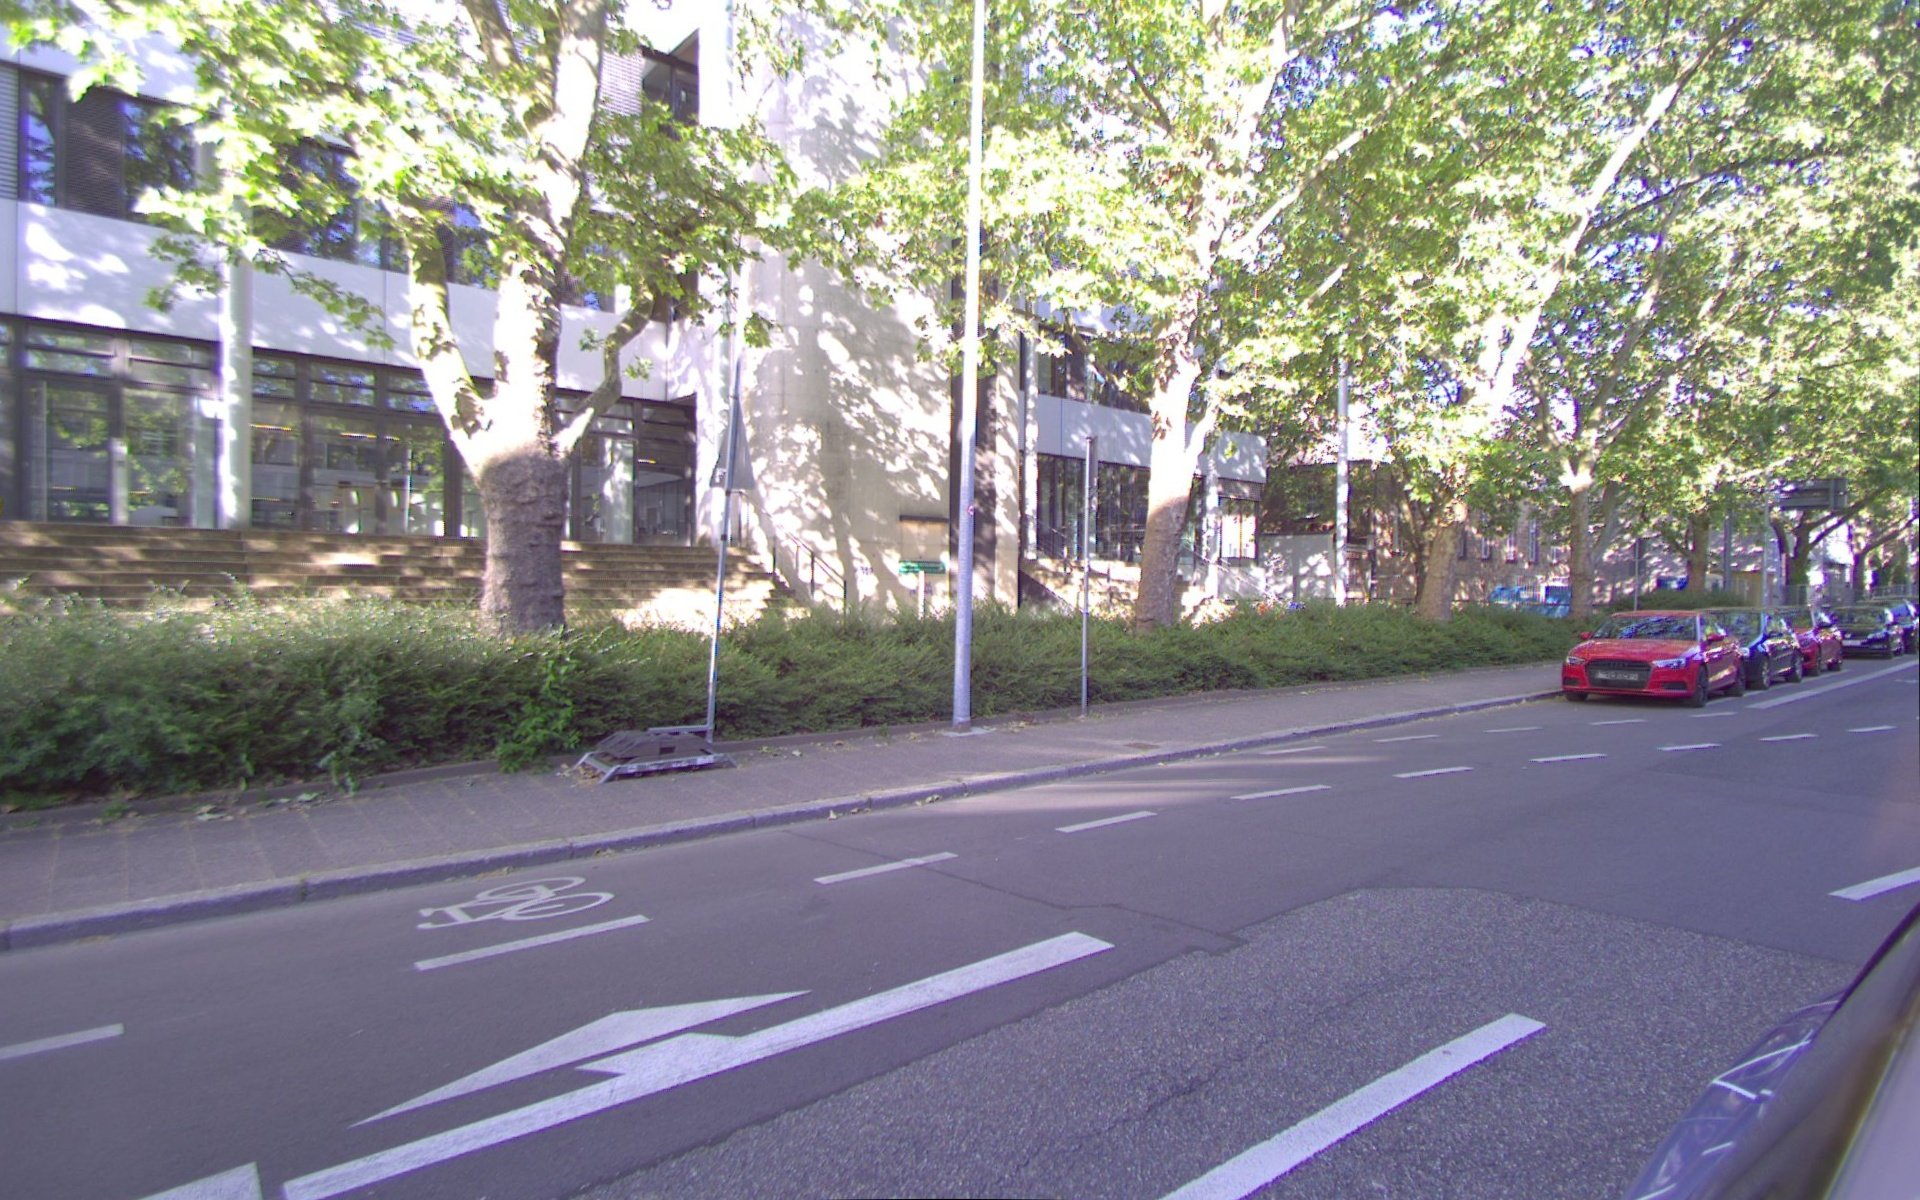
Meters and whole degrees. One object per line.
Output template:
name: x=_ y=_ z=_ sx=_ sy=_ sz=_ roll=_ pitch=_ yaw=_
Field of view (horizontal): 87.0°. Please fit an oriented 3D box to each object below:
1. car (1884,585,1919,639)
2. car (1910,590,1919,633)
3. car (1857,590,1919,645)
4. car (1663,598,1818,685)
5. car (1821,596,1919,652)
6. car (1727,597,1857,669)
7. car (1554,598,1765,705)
car: x=33.779 y=0.399 z=35.474 sx=3.778 sy=1.828 sz=1.634 roll=0 pitch=-1 yaw=-41
car: x=38.786 y=0.442 z=39.846 sx=3.778 sy=1.675 sz=1.634 roll=0 pitch=-1 yaw=-41
car: x=29.472 y=0.518 z=31.665 sx=3.778 sy=1.607 sz=1.634 roll=0 pitch=-1 yaw=-41
car: x=14.814 y=0.717 z=19.150 sx=3.675 sy=1.483 sz=1.634 roll=0 pitch=-1 yaw=-41
car: x=25.817 y=0.639 z=28.649 sx=3.675 sy=1.483 sz=1.634 roll=0 pitch=-1 yaw=-41
car: x=18.568 y=0.683 z=22.535 sx=3.675 sy=1.483 sz=1.634 roll=0 pitch=-1 yaw=-41
car: x=11.205 y=0.717 z=16.112 sx=4.053 sy=1.483 sz=1.802 roll=0 pitch=-1 yaw=-41
